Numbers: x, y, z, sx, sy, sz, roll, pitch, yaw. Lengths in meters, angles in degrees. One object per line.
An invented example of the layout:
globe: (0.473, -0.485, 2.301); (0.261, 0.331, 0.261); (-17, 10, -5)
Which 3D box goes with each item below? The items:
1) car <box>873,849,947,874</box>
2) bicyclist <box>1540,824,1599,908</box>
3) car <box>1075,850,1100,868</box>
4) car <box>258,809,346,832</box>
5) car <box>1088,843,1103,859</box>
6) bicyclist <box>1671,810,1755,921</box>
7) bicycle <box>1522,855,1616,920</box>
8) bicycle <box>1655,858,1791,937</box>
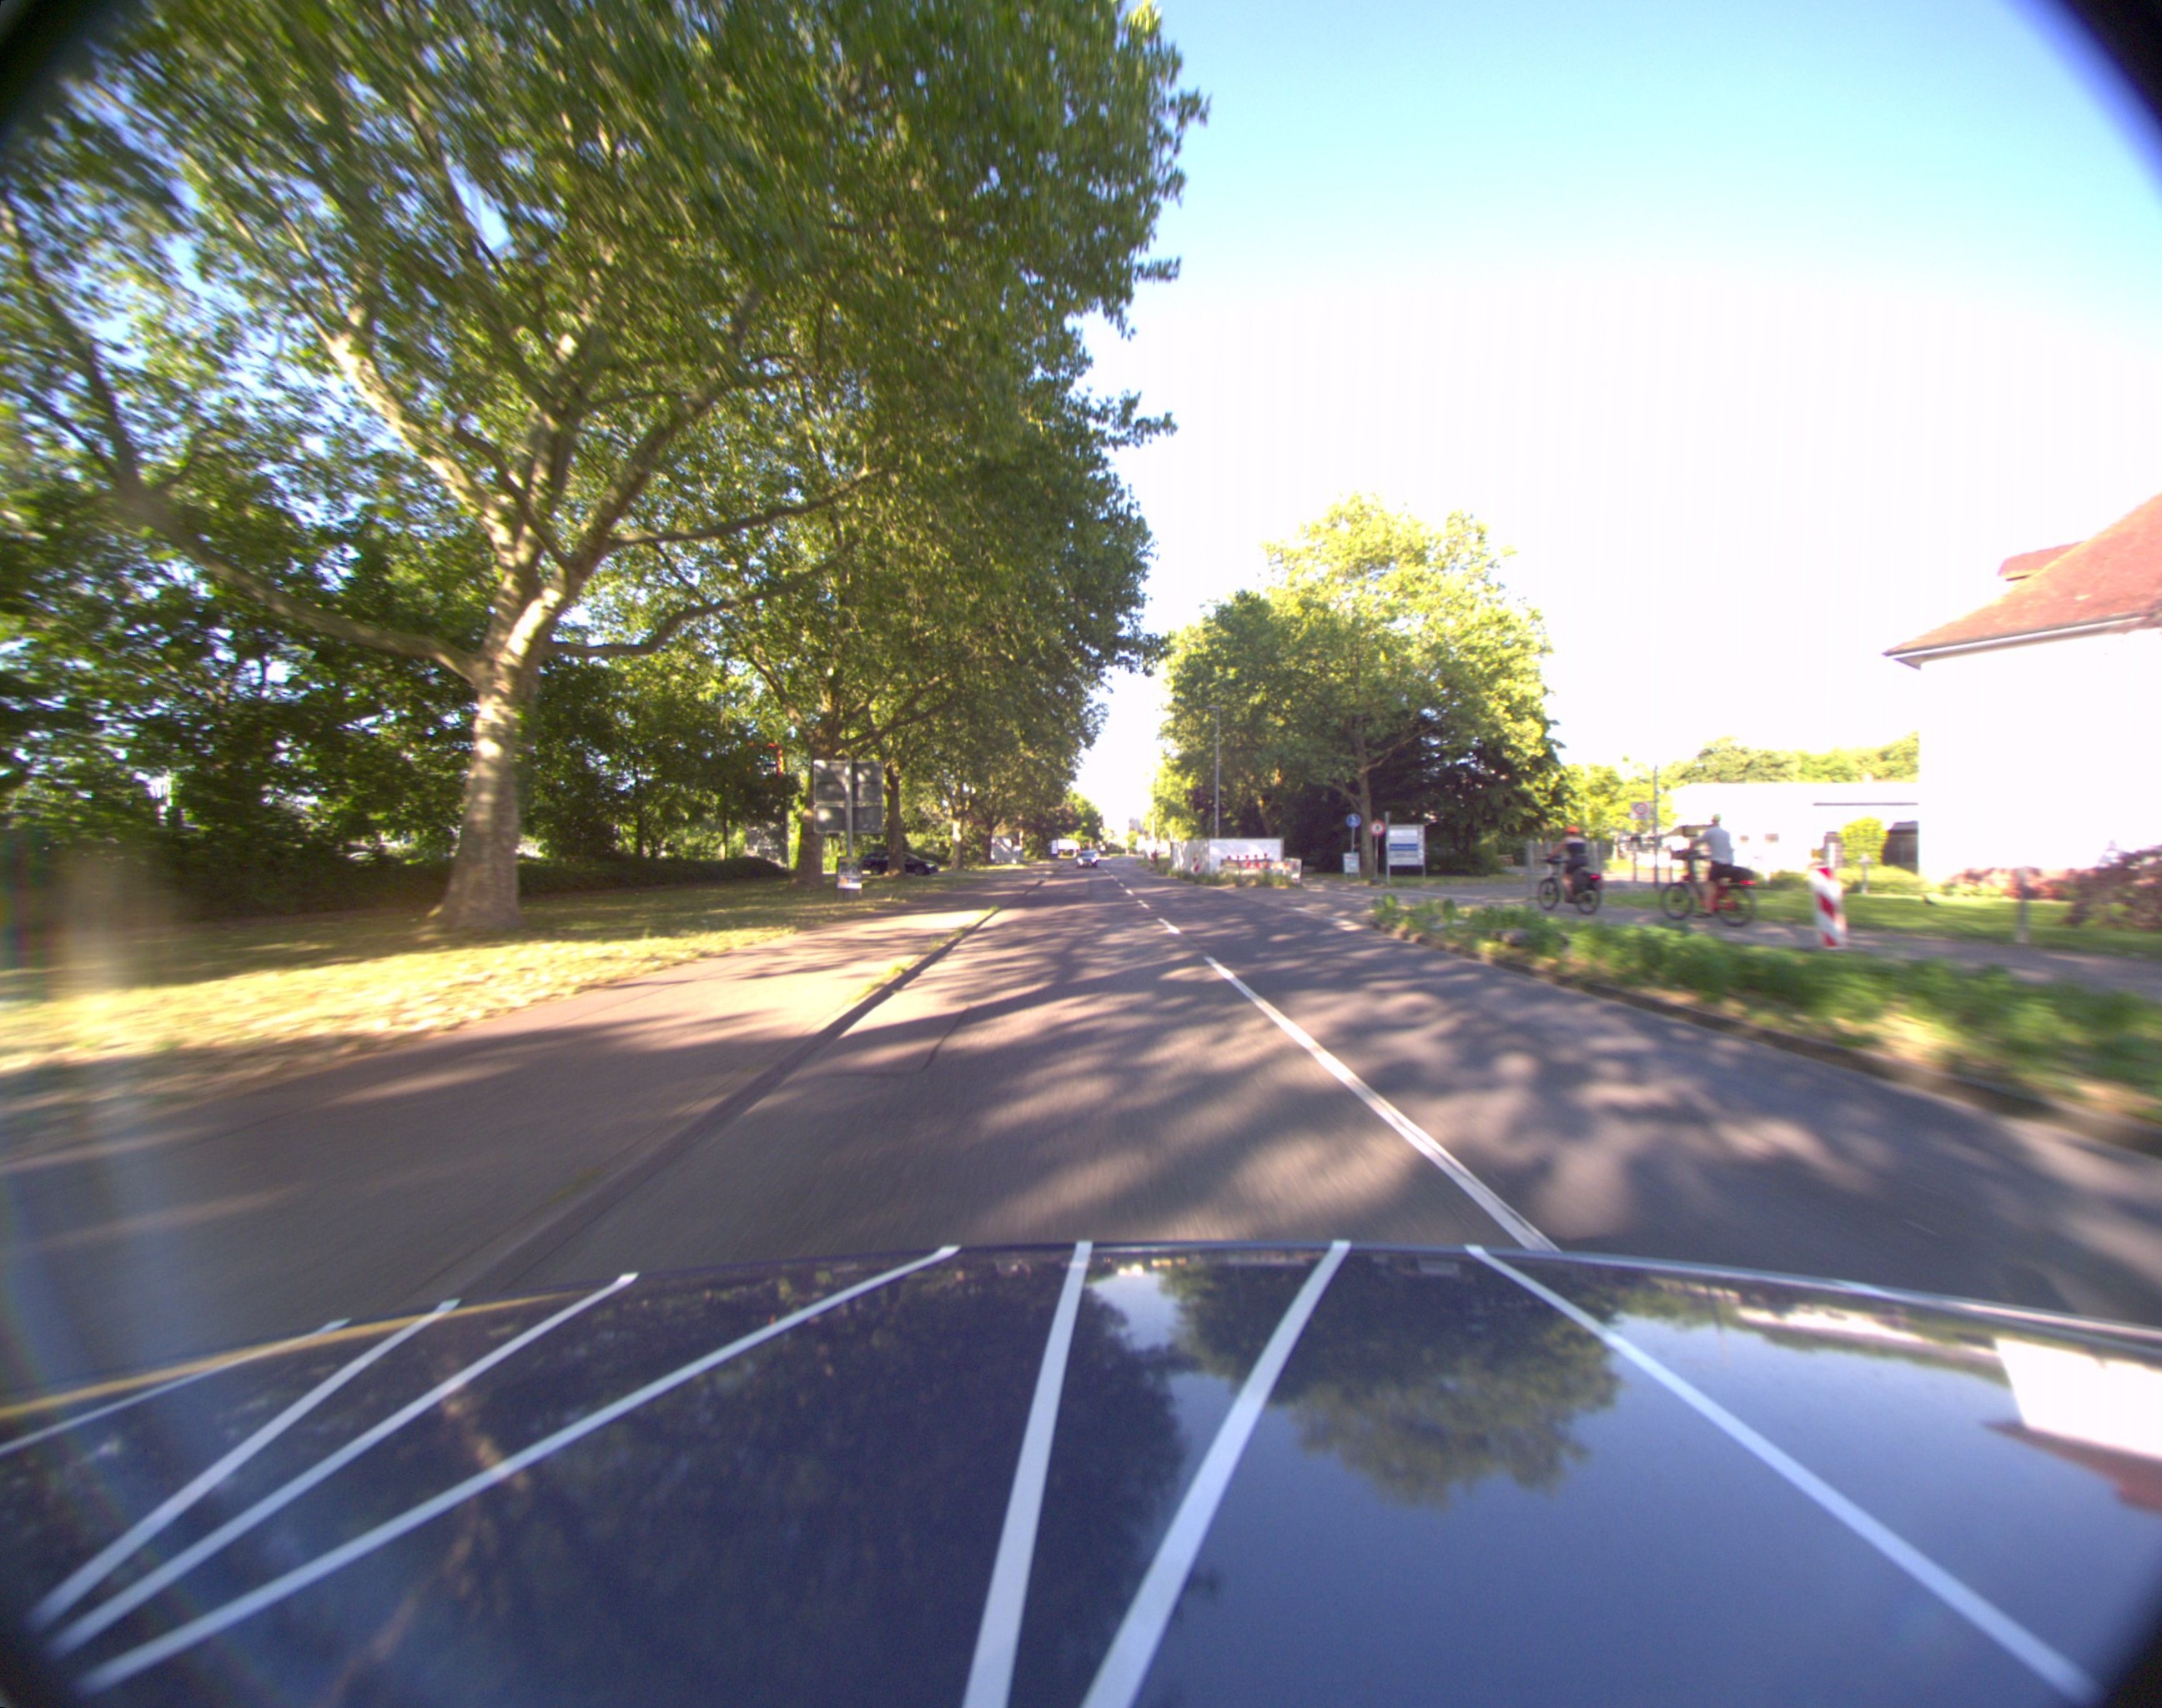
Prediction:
car: (-10.256, 0.456, 45.611); (3.996, 1.435, 1.761); (0, 1, 4)
bicyclist: (10.186, 0.239, 15.865); (0.580, 1.670, 0.970); (-2, 1, 0)
car: (0.605, 0.397, 66.636); (1.869, 1.471, 4.087); (0, 1, 5)
car: (-56.273, -2.419, 54.904); (4.584, 1.543, 2.001); (-1, 1, 6)
car: (1.875, -0.413, 101.927); (1.934, 2.002, 3.999); (-1, 2, 0)
bicyclist: (10.873, 0.188, 13.107); (0.580, 1.821, 0.968); (-3, 1, 0)
bicycle: (10.205, 0.659, 15.989); (0.580, 1.238, 2.107); (-2, 1, 0)
bicycle: (10.908, 0.693, 13.017); (0.580, 1.179, 2.032); (-3, 1, 0)
